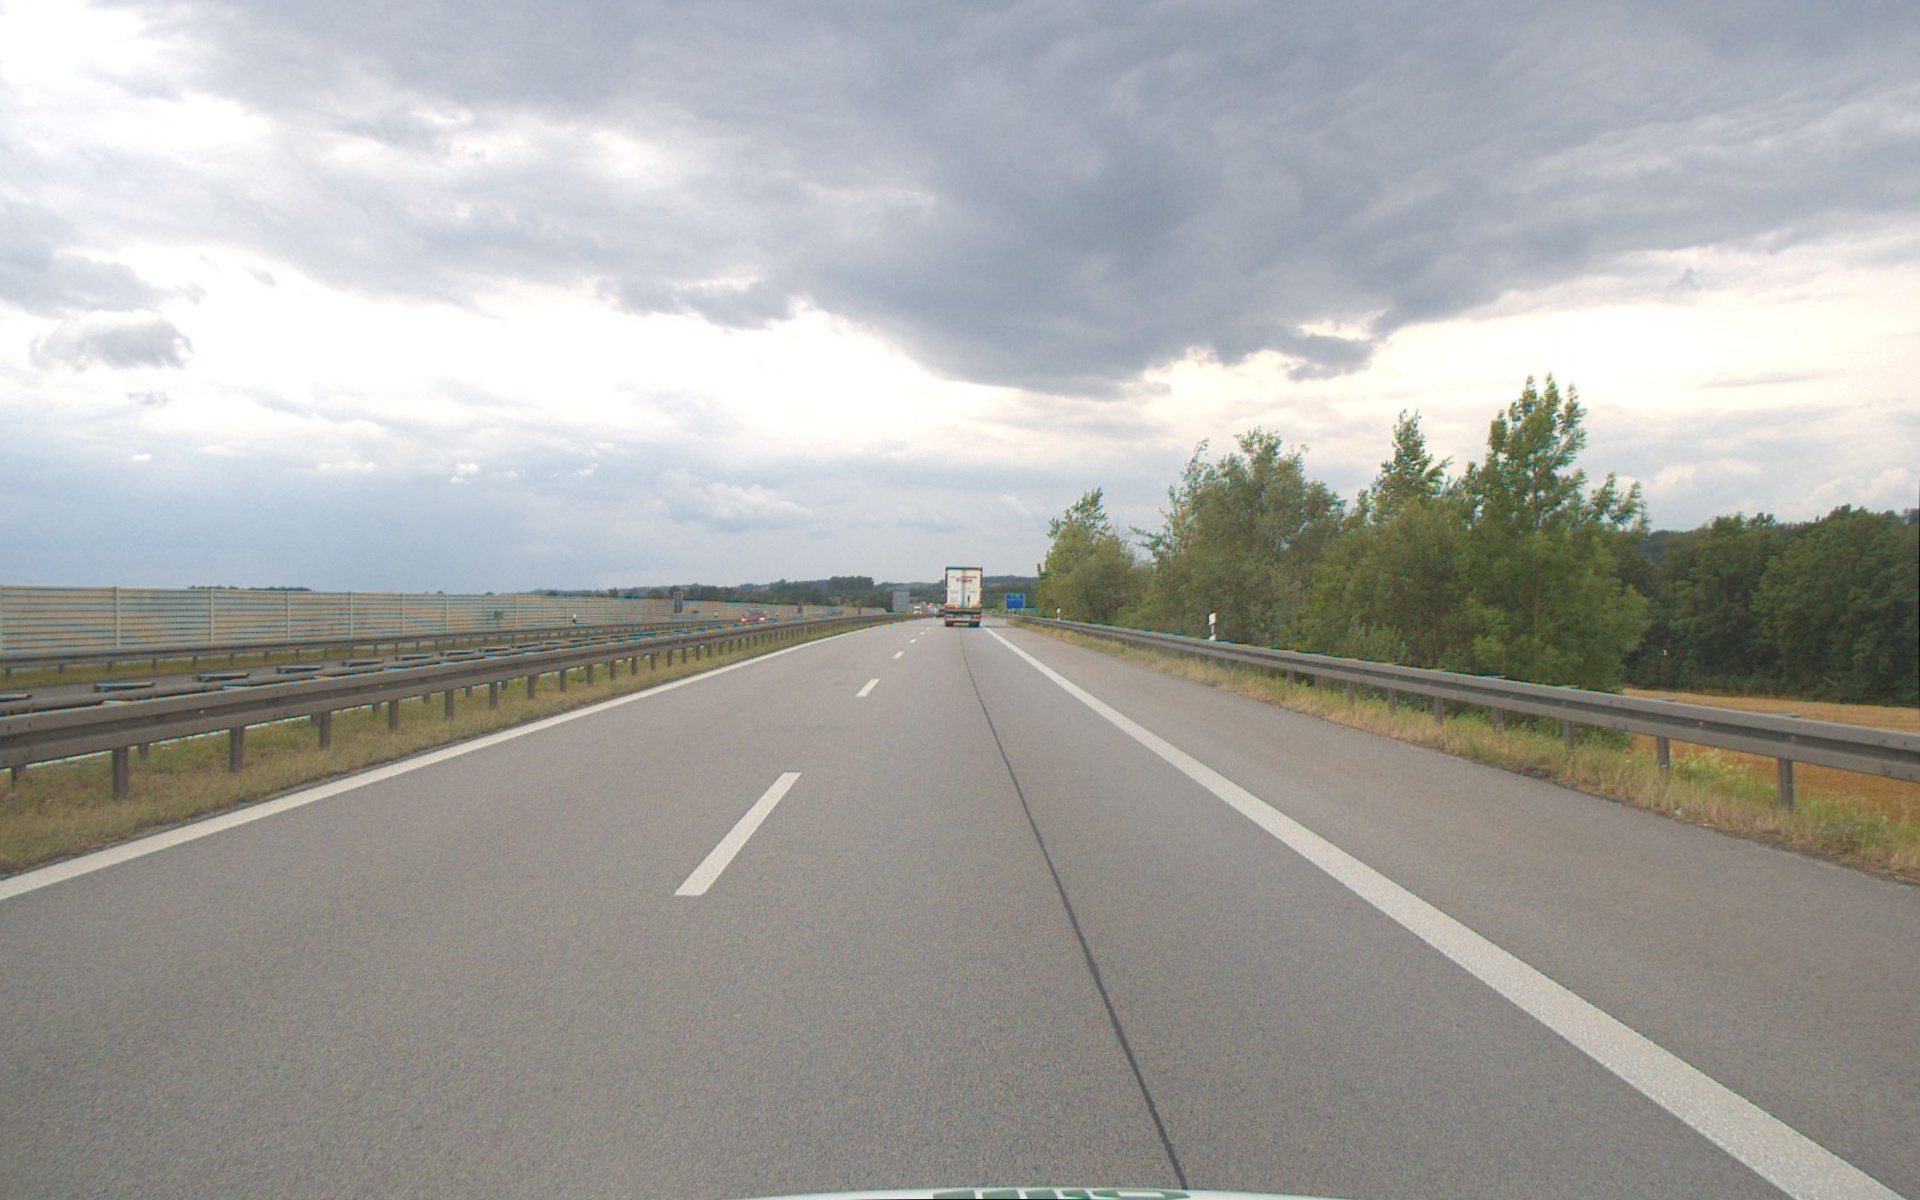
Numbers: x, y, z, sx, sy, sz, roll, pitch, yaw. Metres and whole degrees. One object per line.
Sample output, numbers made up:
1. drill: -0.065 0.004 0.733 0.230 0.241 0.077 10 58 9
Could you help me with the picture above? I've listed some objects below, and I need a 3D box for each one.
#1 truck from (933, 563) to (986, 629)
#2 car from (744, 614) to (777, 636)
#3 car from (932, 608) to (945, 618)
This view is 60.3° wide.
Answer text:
1. truck: -0.138 -0.225 121.348 3.597 4.490 16.337 0 0 -1
2. car: -14.342 1.779 119.067 1.781 1.428 4.876 -1 0 0
3. car: -3.421 2.127 262.614 1.954 1.445 3.998 1 1 -3
